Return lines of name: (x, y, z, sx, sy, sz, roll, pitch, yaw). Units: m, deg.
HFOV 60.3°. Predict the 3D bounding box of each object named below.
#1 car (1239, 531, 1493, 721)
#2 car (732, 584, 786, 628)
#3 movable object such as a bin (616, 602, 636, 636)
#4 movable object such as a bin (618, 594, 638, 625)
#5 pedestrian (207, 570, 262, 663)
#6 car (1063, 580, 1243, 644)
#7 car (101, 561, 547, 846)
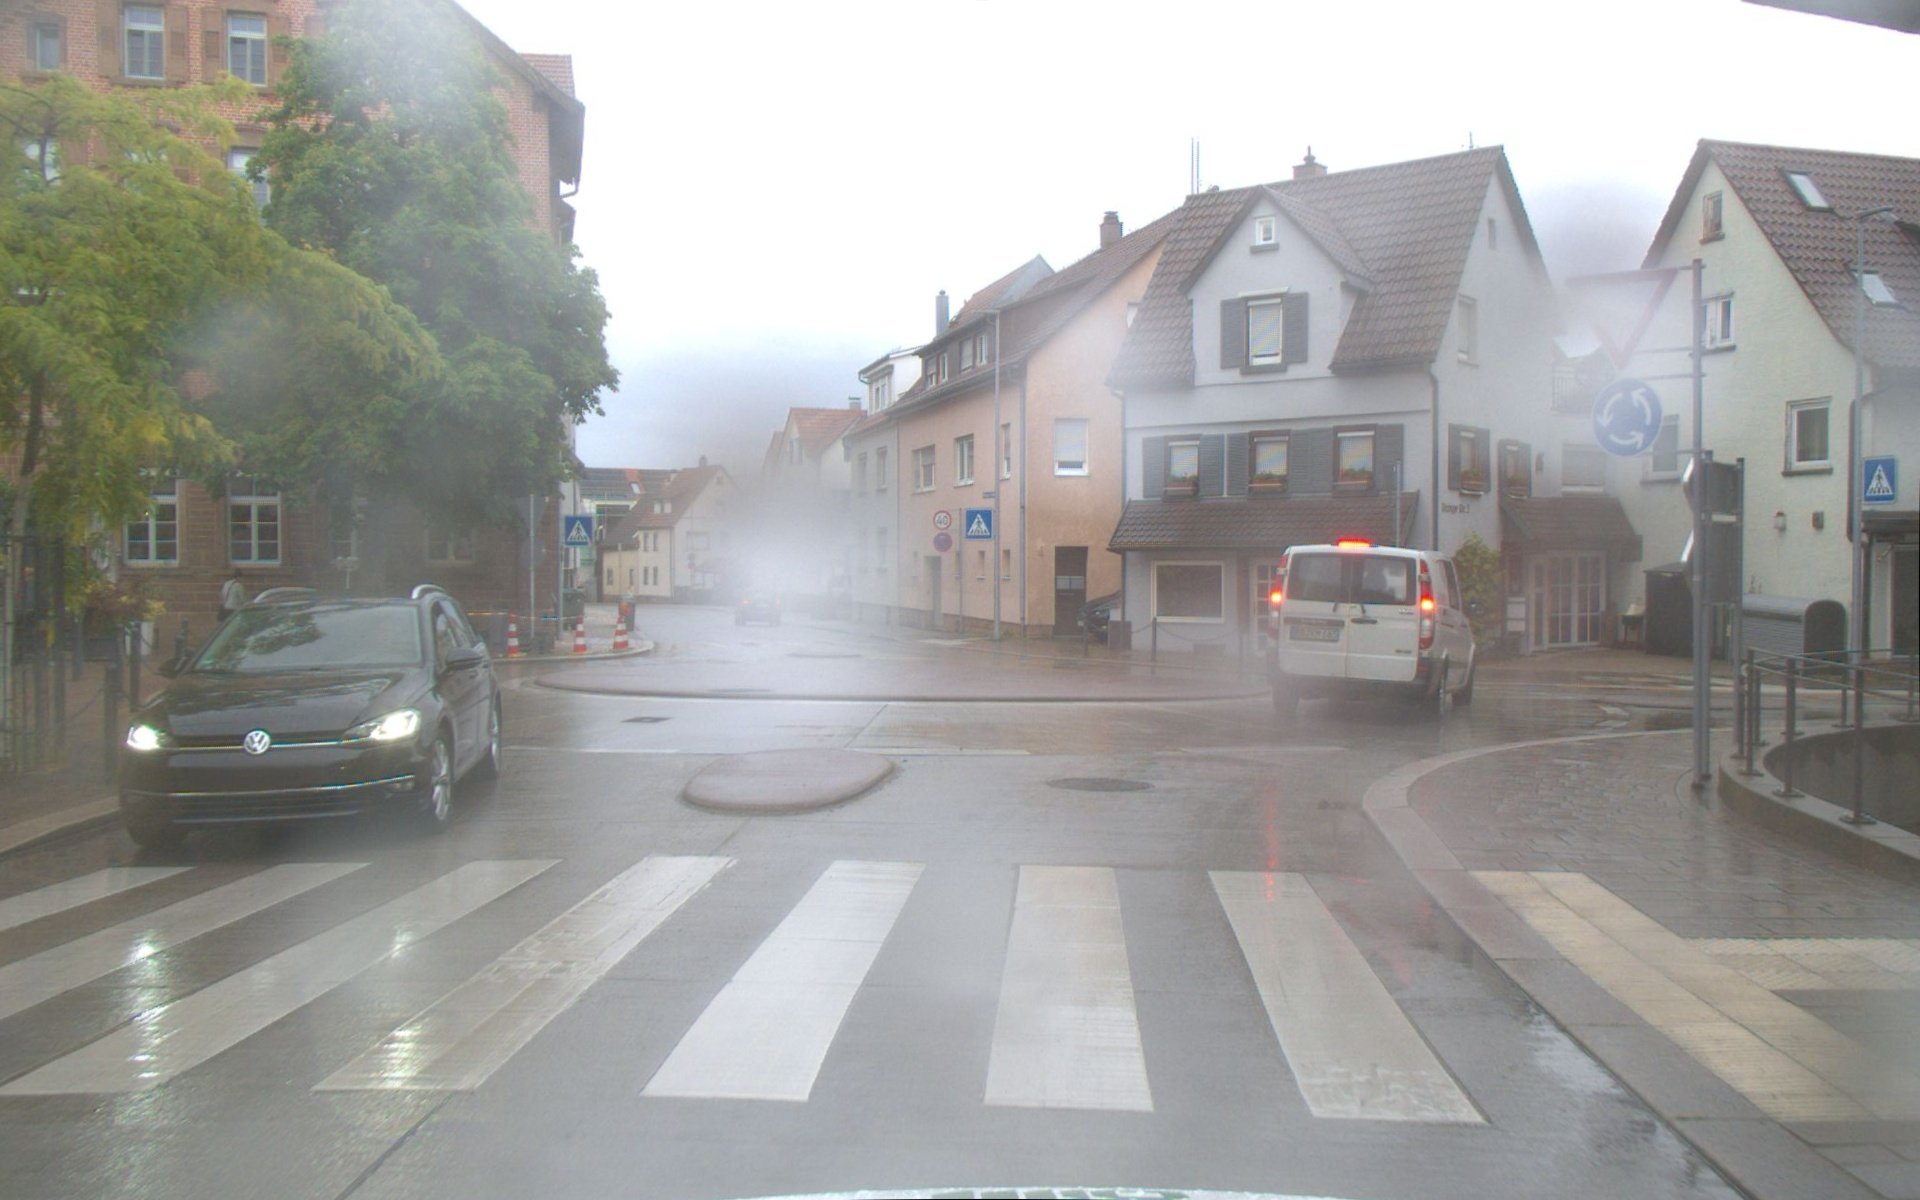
car: (4.932, 0.292, 19.517, 2.109, 1.932, 4.923, 0, -1, 24)
car: (-8.049, 0.263, 65.875, 1.936, 1.709, 4.058, 0, -1, -10)
movable object such as a bin: (-11.740, 0.658, 58.160, 0.616, 1.193, 0.758, 1, -1, -17)
movable object such as a bin: (-12.684, 0.361, 63.136, 0.644, 1.189, 0.778, 1, -1, -17)
pedestrian: (-15.149, 0.342, 34.546, 0.835, 1.919, 0.813, 2, -1, -40)
car: (4.687, 0.300, 40.336, 3.927, 1.512, 1.989, 0, -1, -19)
car: (-3.998, 0.518, 11.223, 1.752, 1.534, 4.463, 0, 1, -7)
